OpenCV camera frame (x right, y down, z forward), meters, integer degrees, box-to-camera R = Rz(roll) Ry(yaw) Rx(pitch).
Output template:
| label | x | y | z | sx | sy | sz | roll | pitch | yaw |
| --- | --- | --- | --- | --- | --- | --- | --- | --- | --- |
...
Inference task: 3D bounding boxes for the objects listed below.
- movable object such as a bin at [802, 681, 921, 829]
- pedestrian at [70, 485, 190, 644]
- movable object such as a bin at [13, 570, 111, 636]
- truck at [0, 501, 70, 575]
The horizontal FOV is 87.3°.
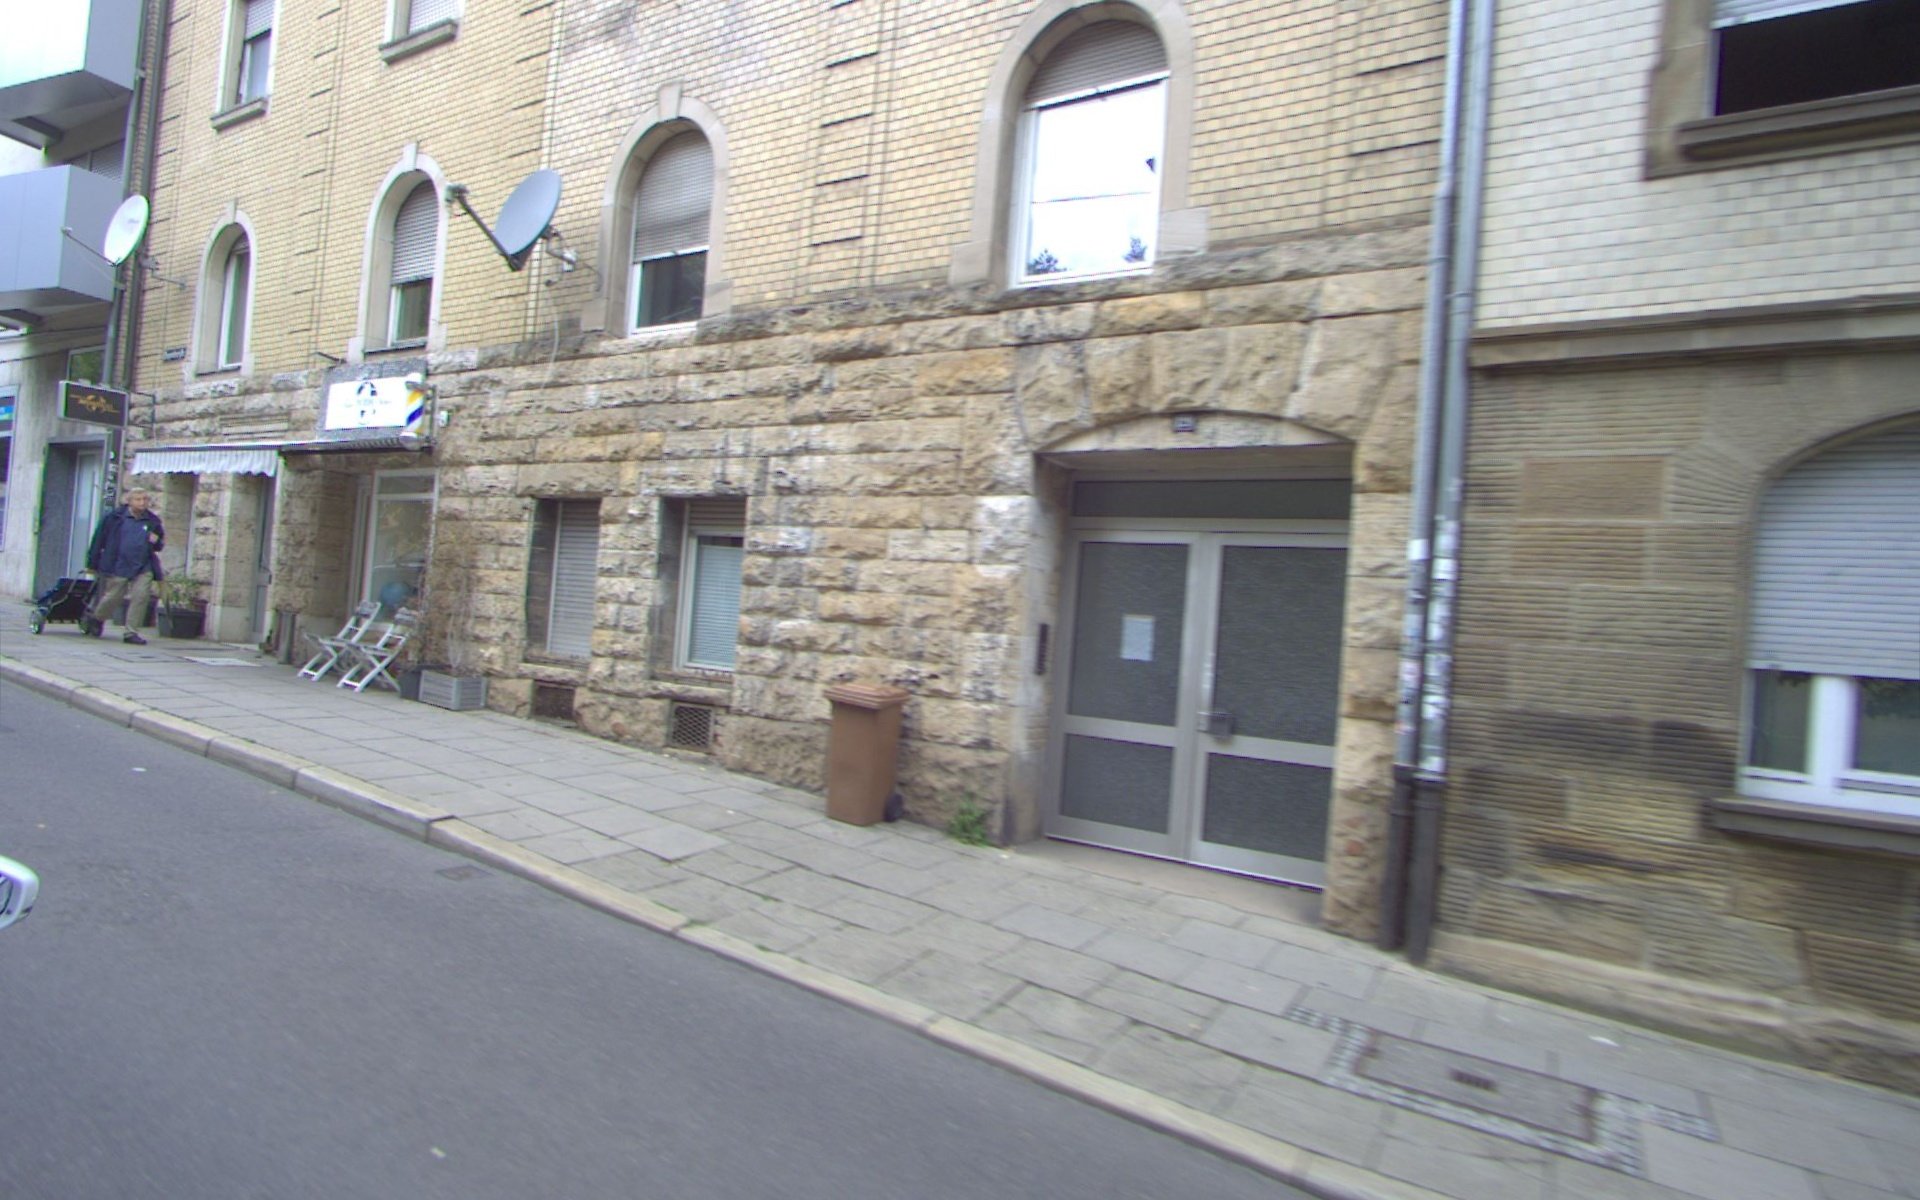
| label | x | y | z | sx | sy | sz | roll | pitch | yaw |
| --- | --- | --- | --- | --- | --- | --- | --- | --- | --- |
| movable object such as a bin | -0.663 | 1.030 | 6.846 | 0.495 | 0.914 | 0.595 | 3 | -3 | 32 |
| pedestrian | -9.457 | -0.399 | 11.467 | 0.844 | 1.714 | 0.751 | 5 | 1 | 32 |
| movable object such as a bin | -10.385 | 0.035 | 11.630 | 0.844 | 0.677 | 0.608 | 5 | 1 | 32 |
| truck | -32.521 | -2.323 | 32.100 | 2.337 | 2.156 | 5.585 | 6 | -4 | 20 |
